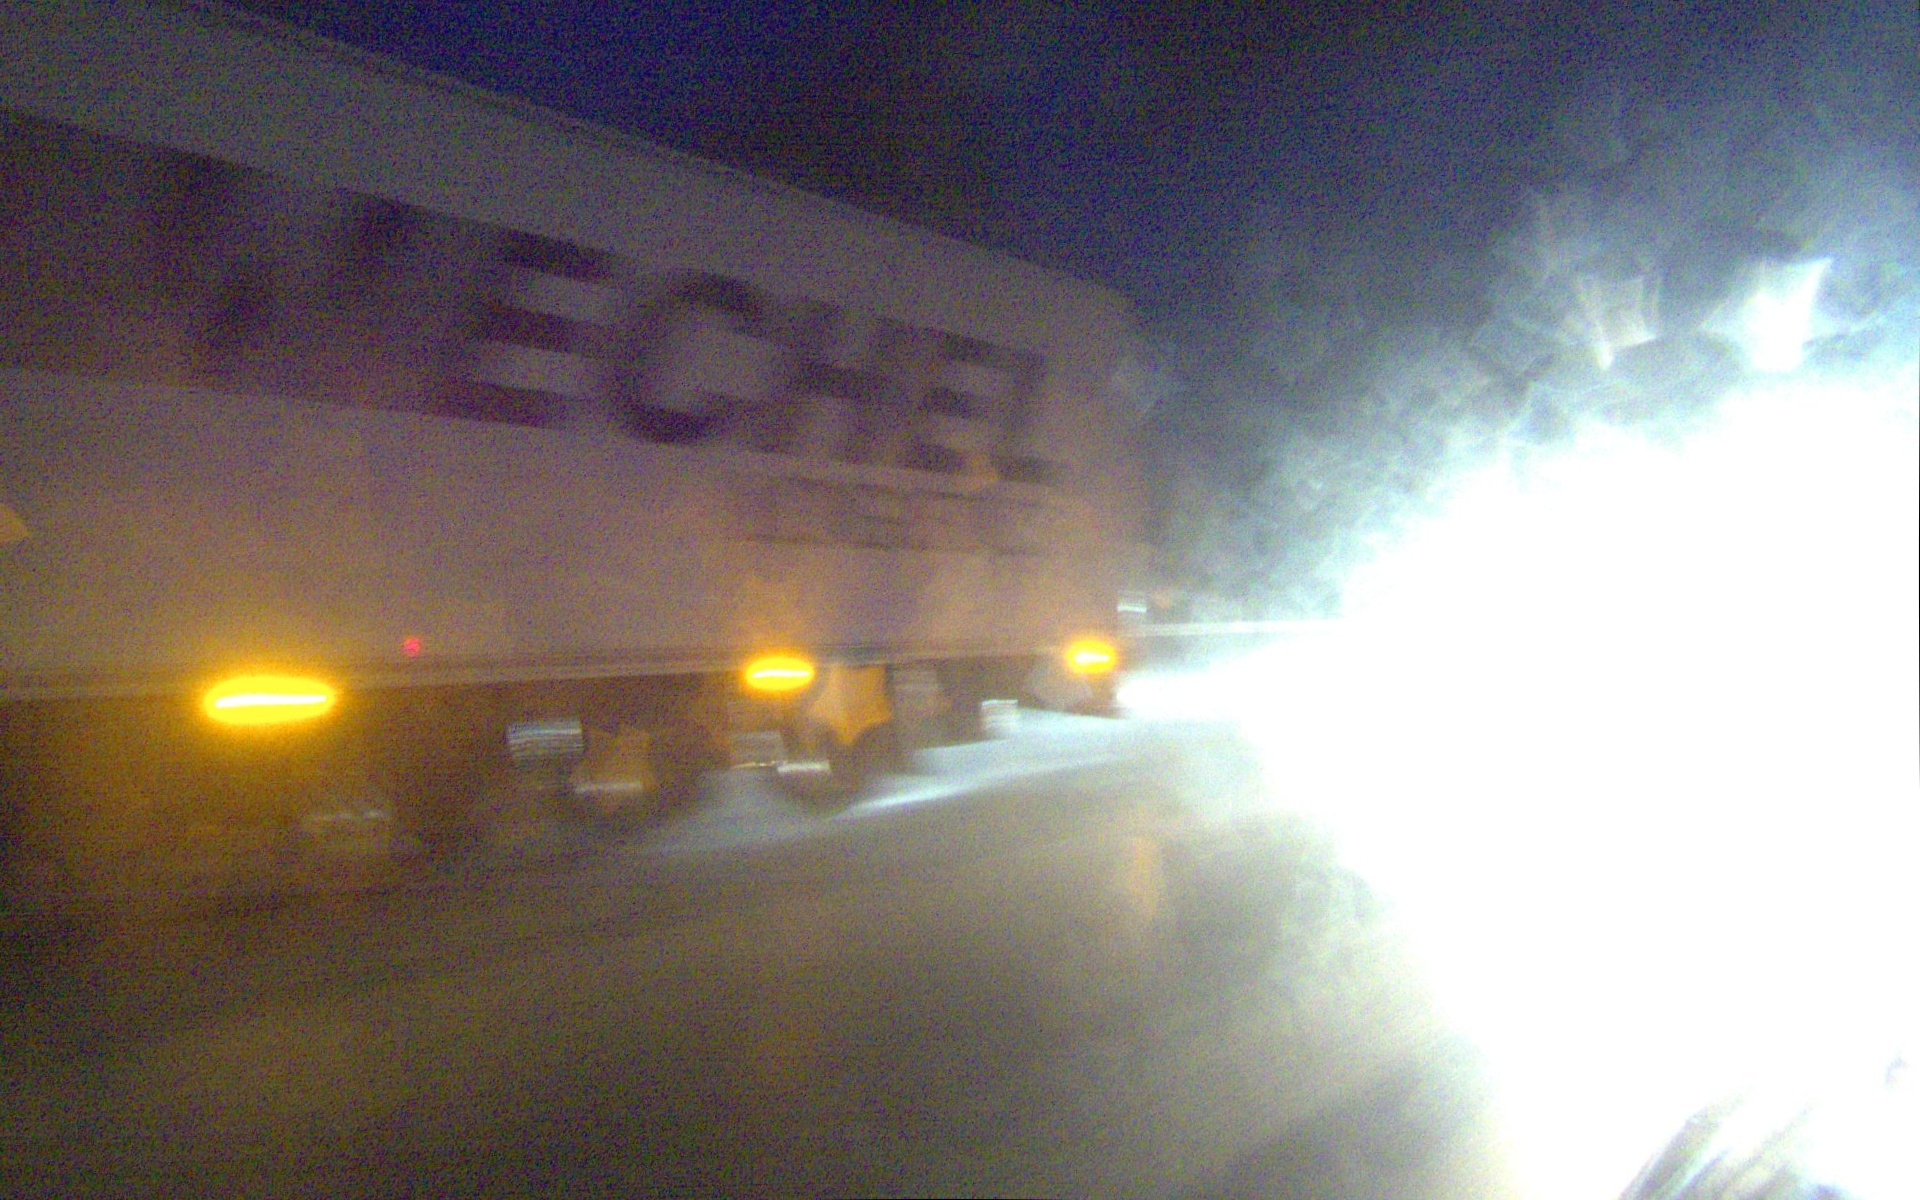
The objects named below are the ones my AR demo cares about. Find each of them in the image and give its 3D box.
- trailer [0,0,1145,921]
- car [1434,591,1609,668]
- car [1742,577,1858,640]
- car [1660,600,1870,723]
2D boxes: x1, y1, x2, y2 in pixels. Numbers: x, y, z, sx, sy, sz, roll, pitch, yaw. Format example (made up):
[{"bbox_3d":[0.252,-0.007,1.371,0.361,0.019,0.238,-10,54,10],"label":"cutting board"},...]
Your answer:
[{"bbox_3d":[-3.871,-0.945,5.410,11.885,4.265,2.808,0,0,-41],"label":"trailer"},{"bbox_3d":[12.373,0.583,22.163,4.876,1.505,1.897,1,0,-42],"label":"car"},{"bbox_3d":[29.678,0.278,35.700,5.308,1.998,2.052,0,3,-39],"label":"car"},{"bbox_3d":[11.097,0.734,13.871,3.726,1.430,1.615,0,0,-41],"label":"car"}]
